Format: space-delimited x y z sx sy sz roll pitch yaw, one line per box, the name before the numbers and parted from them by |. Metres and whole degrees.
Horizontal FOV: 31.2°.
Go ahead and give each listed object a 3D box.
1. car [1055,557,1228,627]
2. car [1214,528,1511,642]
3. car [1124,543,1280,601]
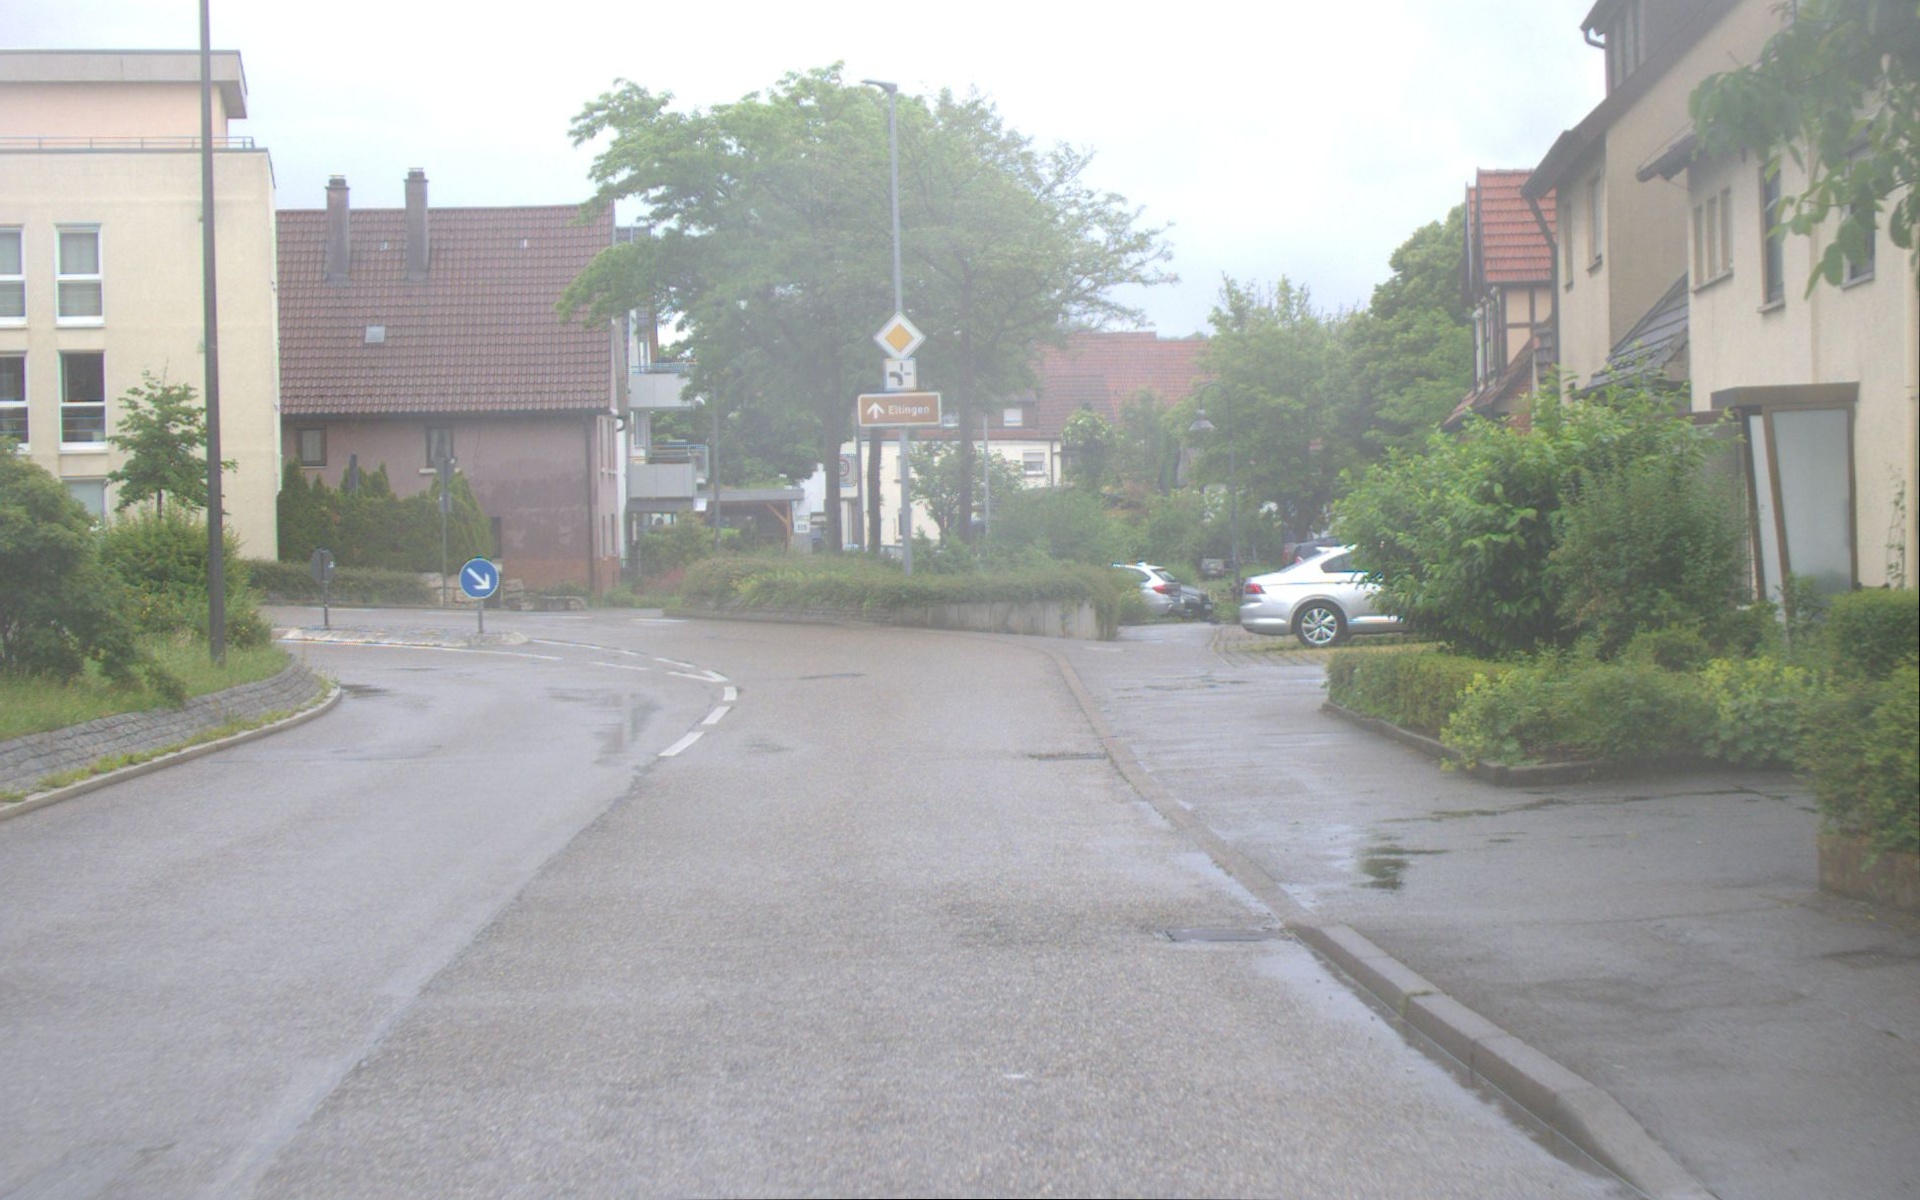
car | 4.508 -0.194 84.909 3.989 1.620 1.999 -1 1 11
car | 5.620 -0.213 47.776 3.955 1.404 1.999 -2 1 10
car | 6.360 -0.728 89.961 3.988 1.415 2.000 -1 1 6
